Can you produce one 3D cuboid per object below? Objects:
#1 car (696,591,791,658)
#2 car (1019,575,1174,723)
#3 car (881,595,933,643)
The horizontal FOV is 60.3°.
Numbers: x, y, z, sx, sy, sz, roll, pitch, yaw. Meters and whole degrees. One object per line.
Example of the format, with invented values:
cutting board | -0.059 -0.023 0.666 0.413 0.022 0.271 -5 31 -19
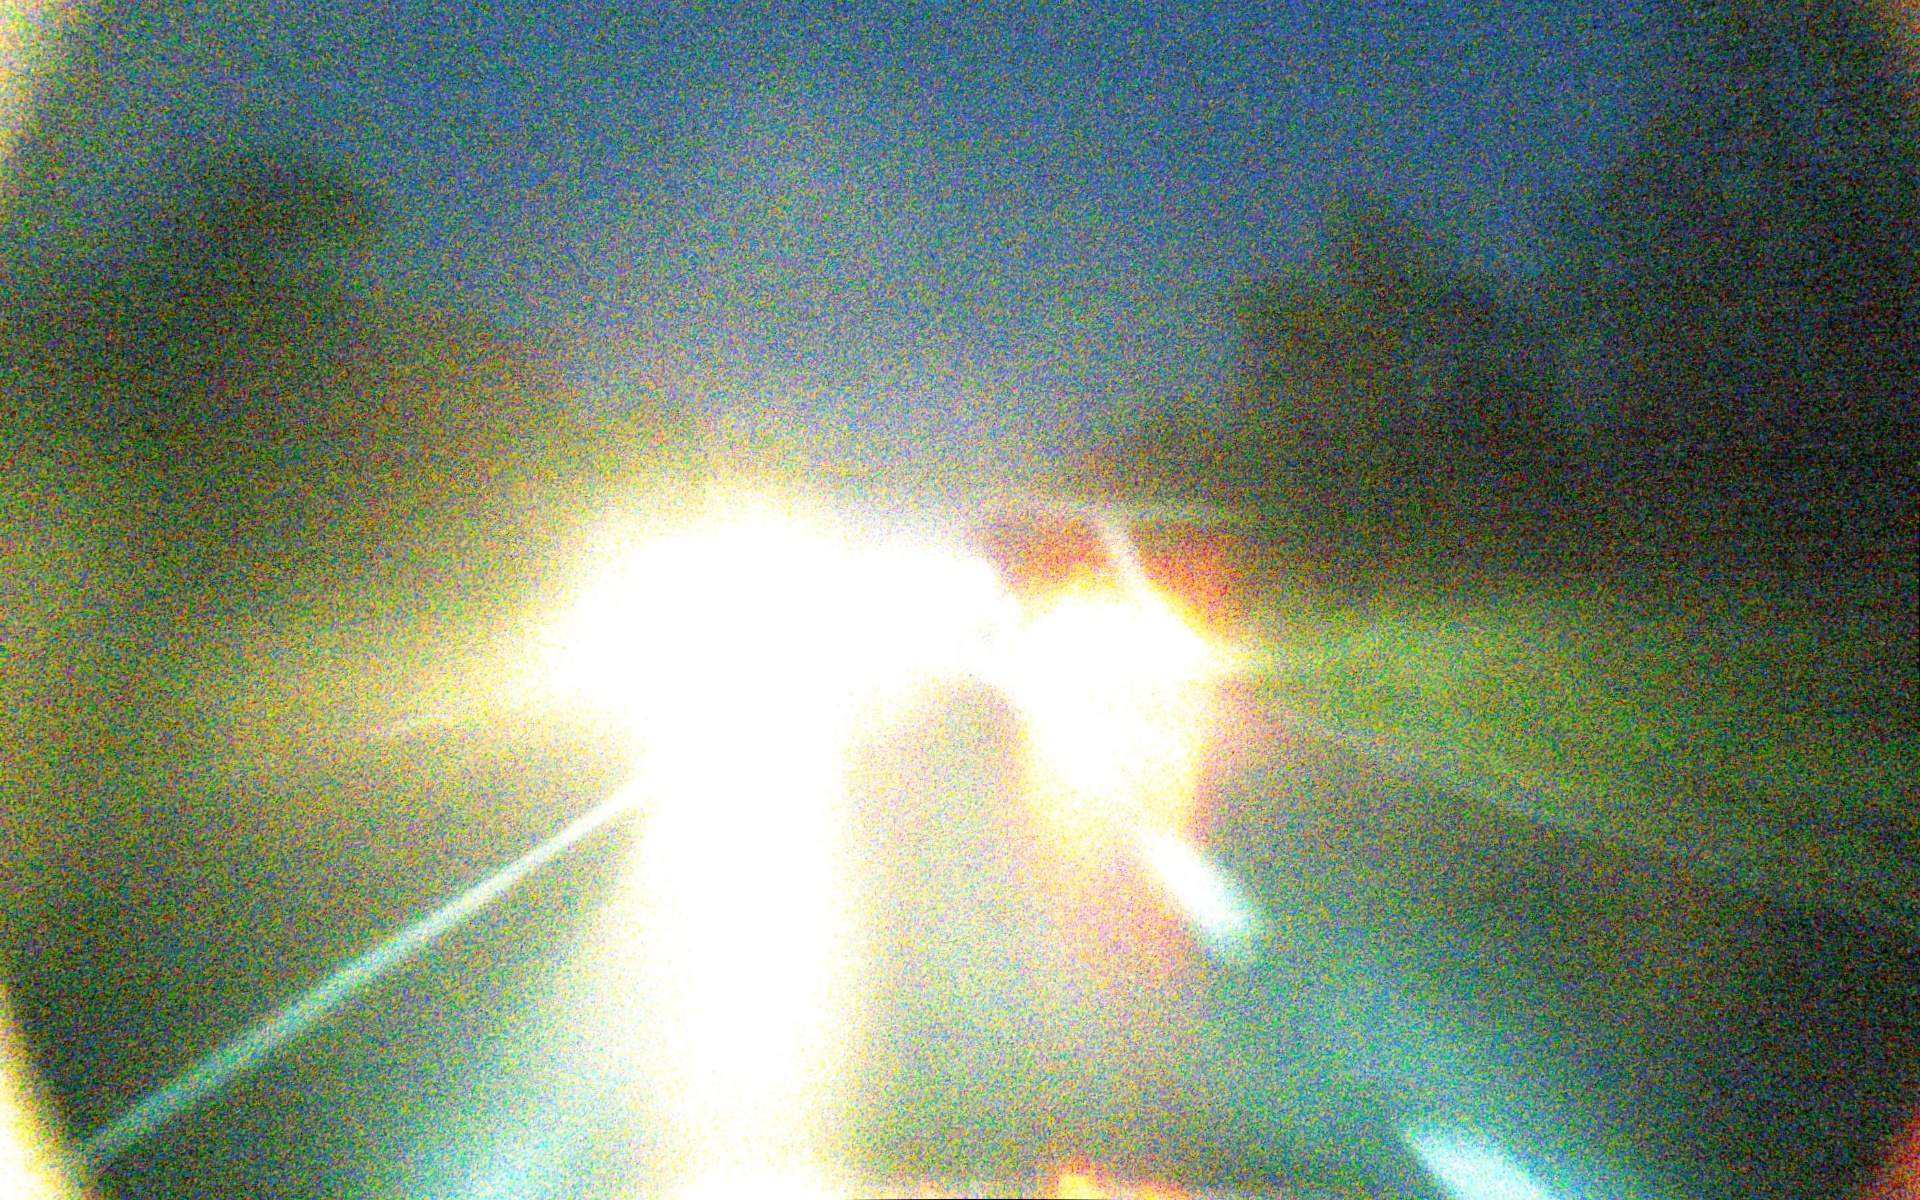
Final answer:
car | -5.468 0.585 42.282 1.953 1.603 4.659 1 0 -2
car | 1.971 0.683 25.074 2.050 2.049 4.000 1 0 1
car | -1.886 0.638 58.656 1.772 1.650 3.998 0 0 -2
